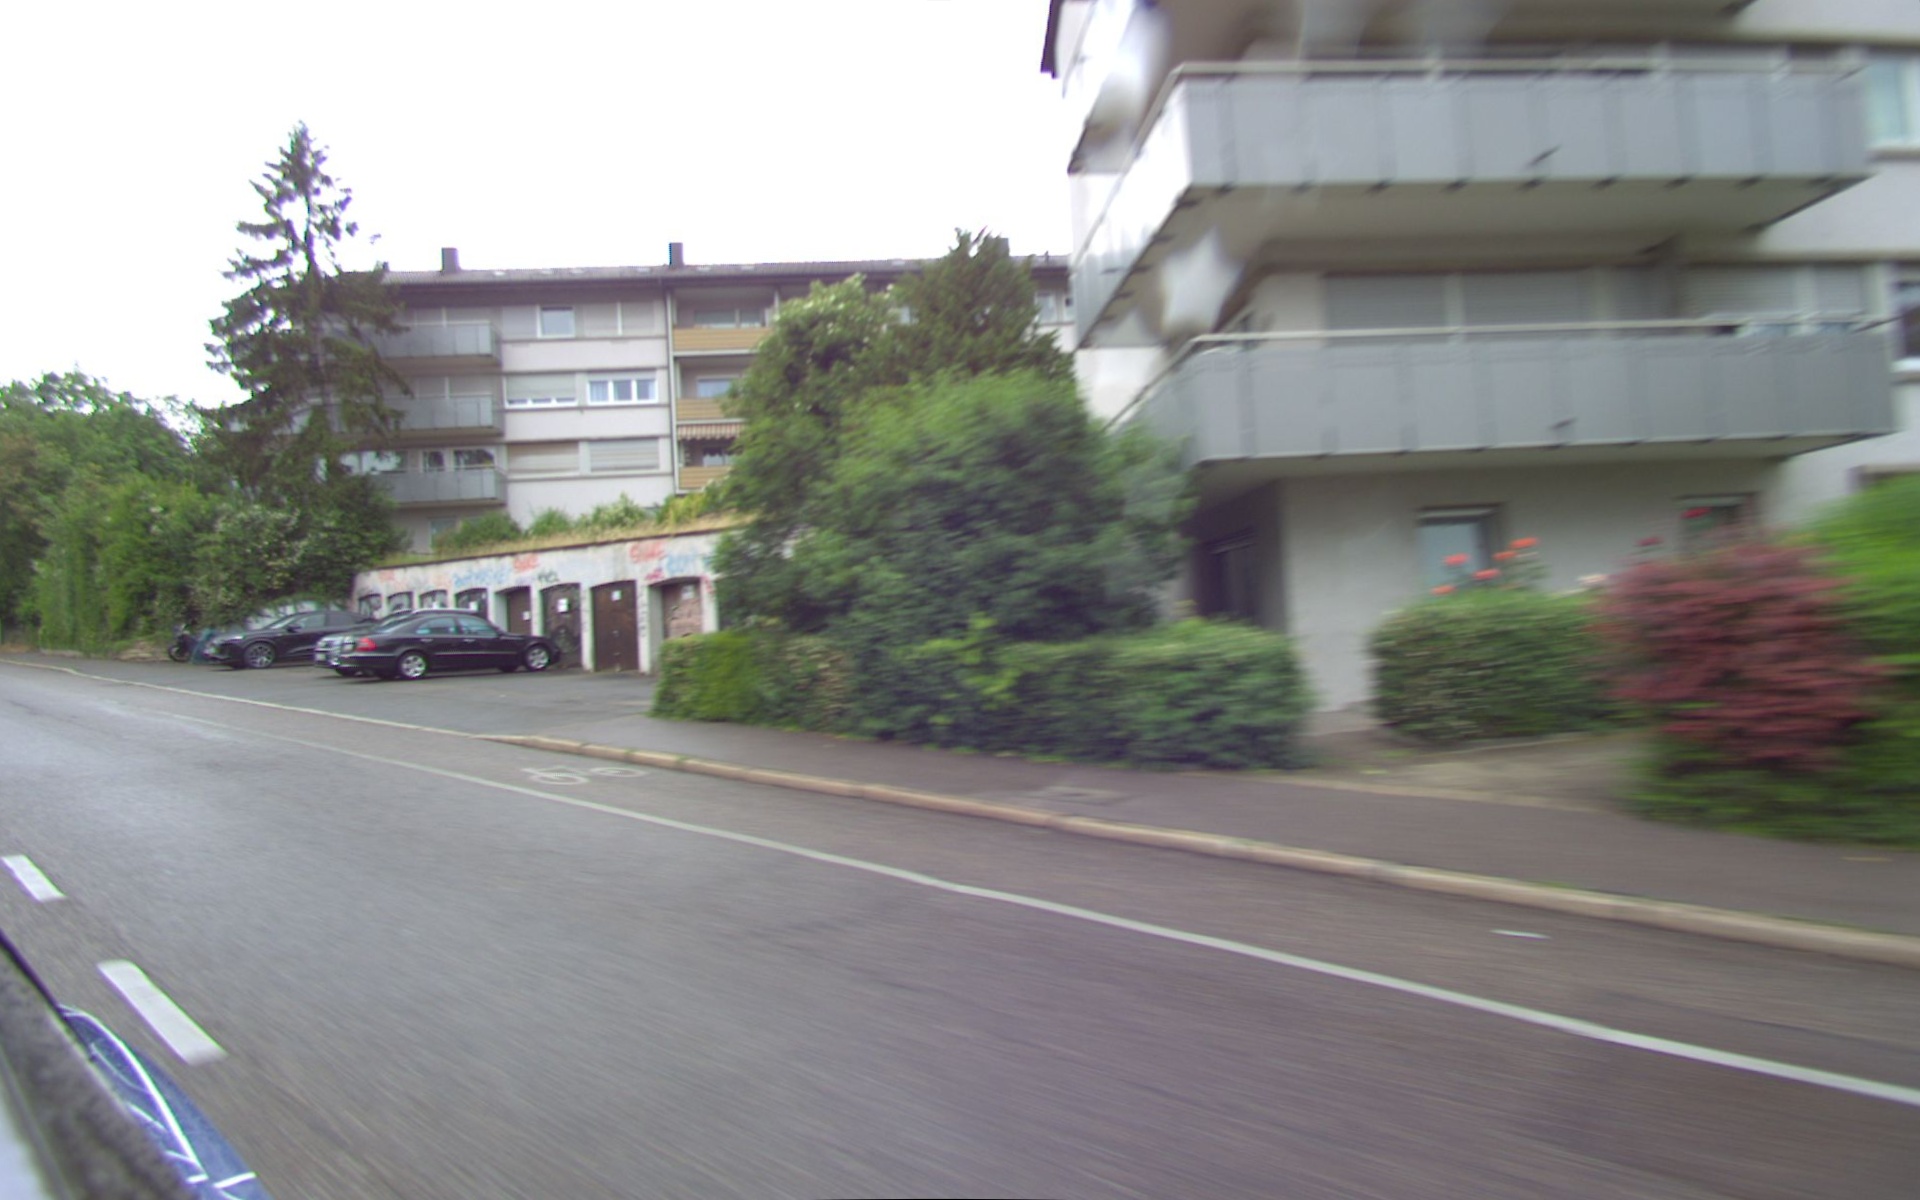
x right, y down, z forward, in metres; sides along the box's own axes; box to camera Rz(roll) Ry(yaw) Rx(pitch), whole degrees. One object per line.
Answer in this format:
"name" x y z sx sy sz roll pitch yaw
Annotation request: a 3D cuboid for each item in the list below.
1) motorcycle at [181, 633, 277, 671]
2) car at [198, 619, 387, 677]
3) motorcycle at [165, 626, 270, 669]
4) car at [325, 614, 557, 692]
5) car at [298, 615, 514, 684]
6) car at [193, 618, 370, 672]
"motorcycle" -23.274 1.631 32.263 2.426 1.117 0.661 0 -1 -43
"car" -19.670 1.363 29.967 1.774 1.539 4.383 -2 -1 41
"motorcycle" -24.523 1.558 33.520 2.765 1.282 1.282 -1 0 -35
"car" -11.963 1.140 23.560 1.847 1.501 4.439 -1 0 41
"car" -13.677 1.166 25.211 1.772 1.539 4.386 -2 -1 38
"car" -21.462 1.366 32.160 1.774 1.539 4.383 -2 -1 41
